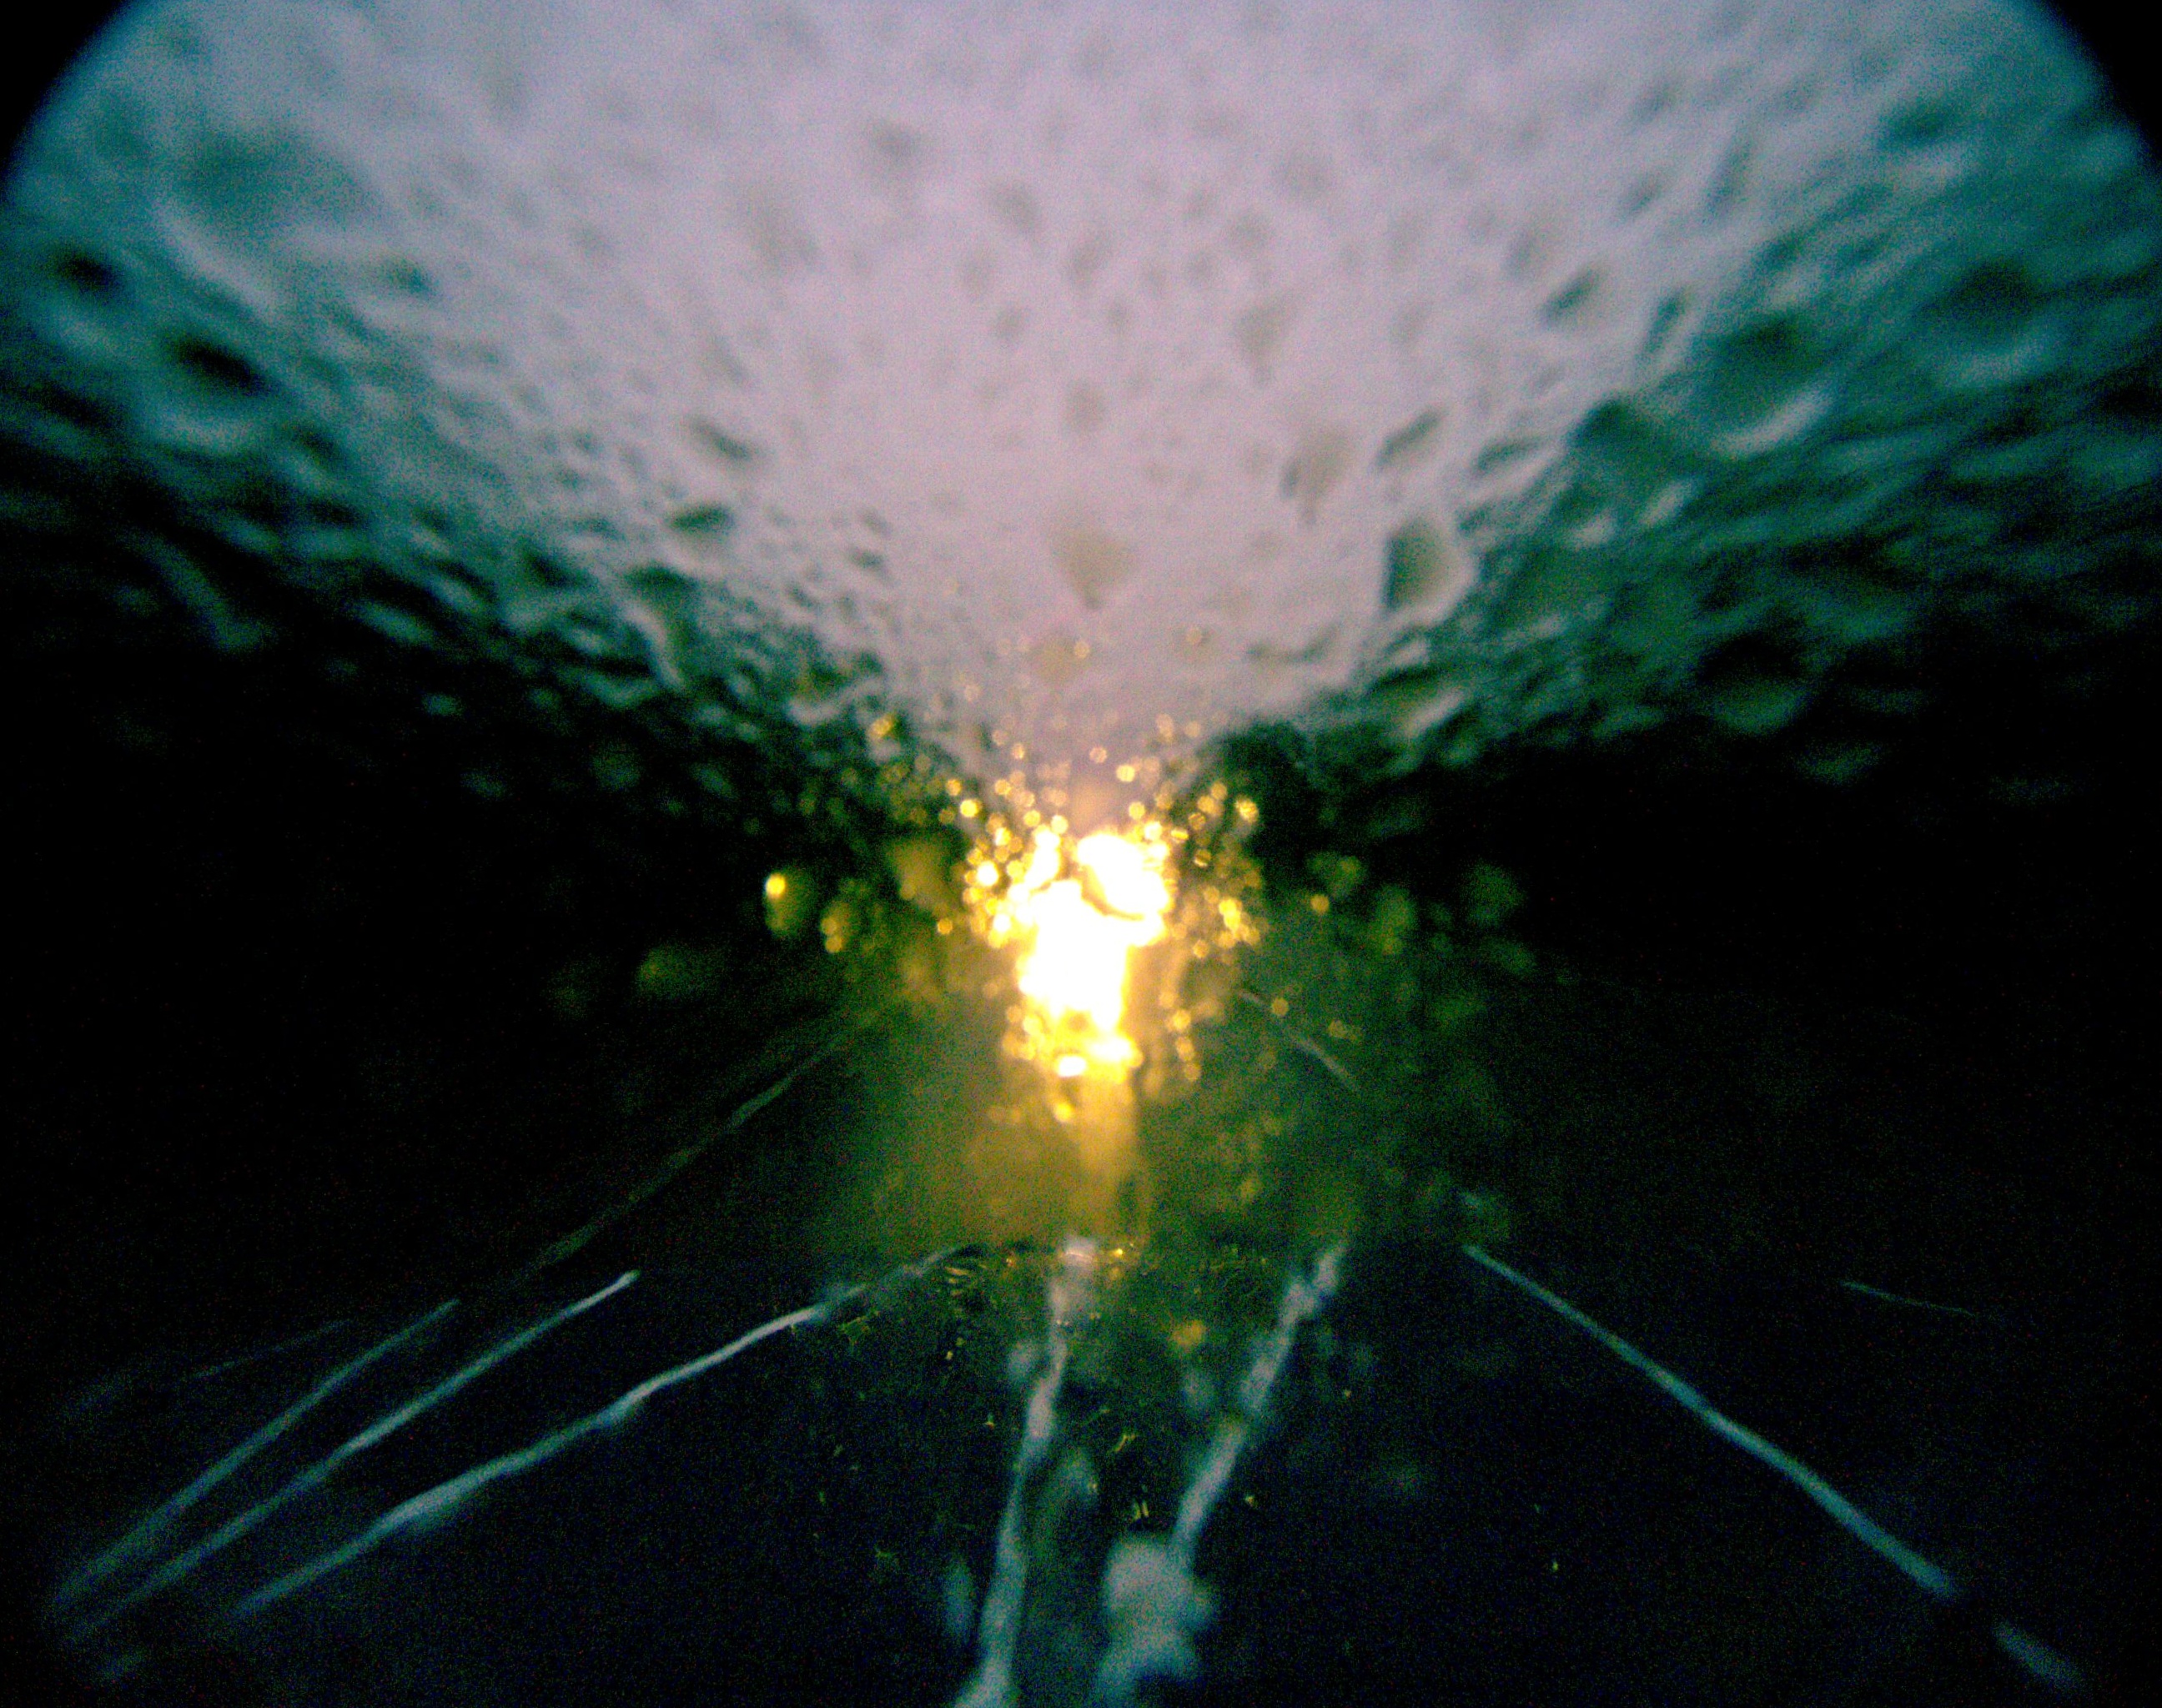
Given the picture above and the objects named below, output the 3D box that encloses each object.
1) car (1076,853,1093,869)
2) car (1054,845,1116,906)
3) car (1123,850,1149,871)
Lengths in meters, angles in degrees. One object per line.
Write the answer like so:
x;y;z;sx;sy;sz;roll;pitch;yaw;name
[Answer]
0.494;0.834;94.404;1.998;1.752;4.371;-2;1;1;car
0.197;0.587;23.884;1.572;1.701;4.001;-2;1;5;car
4.633;0.537;64.206;1.877;1.597;4.195;-2;0;0;car
